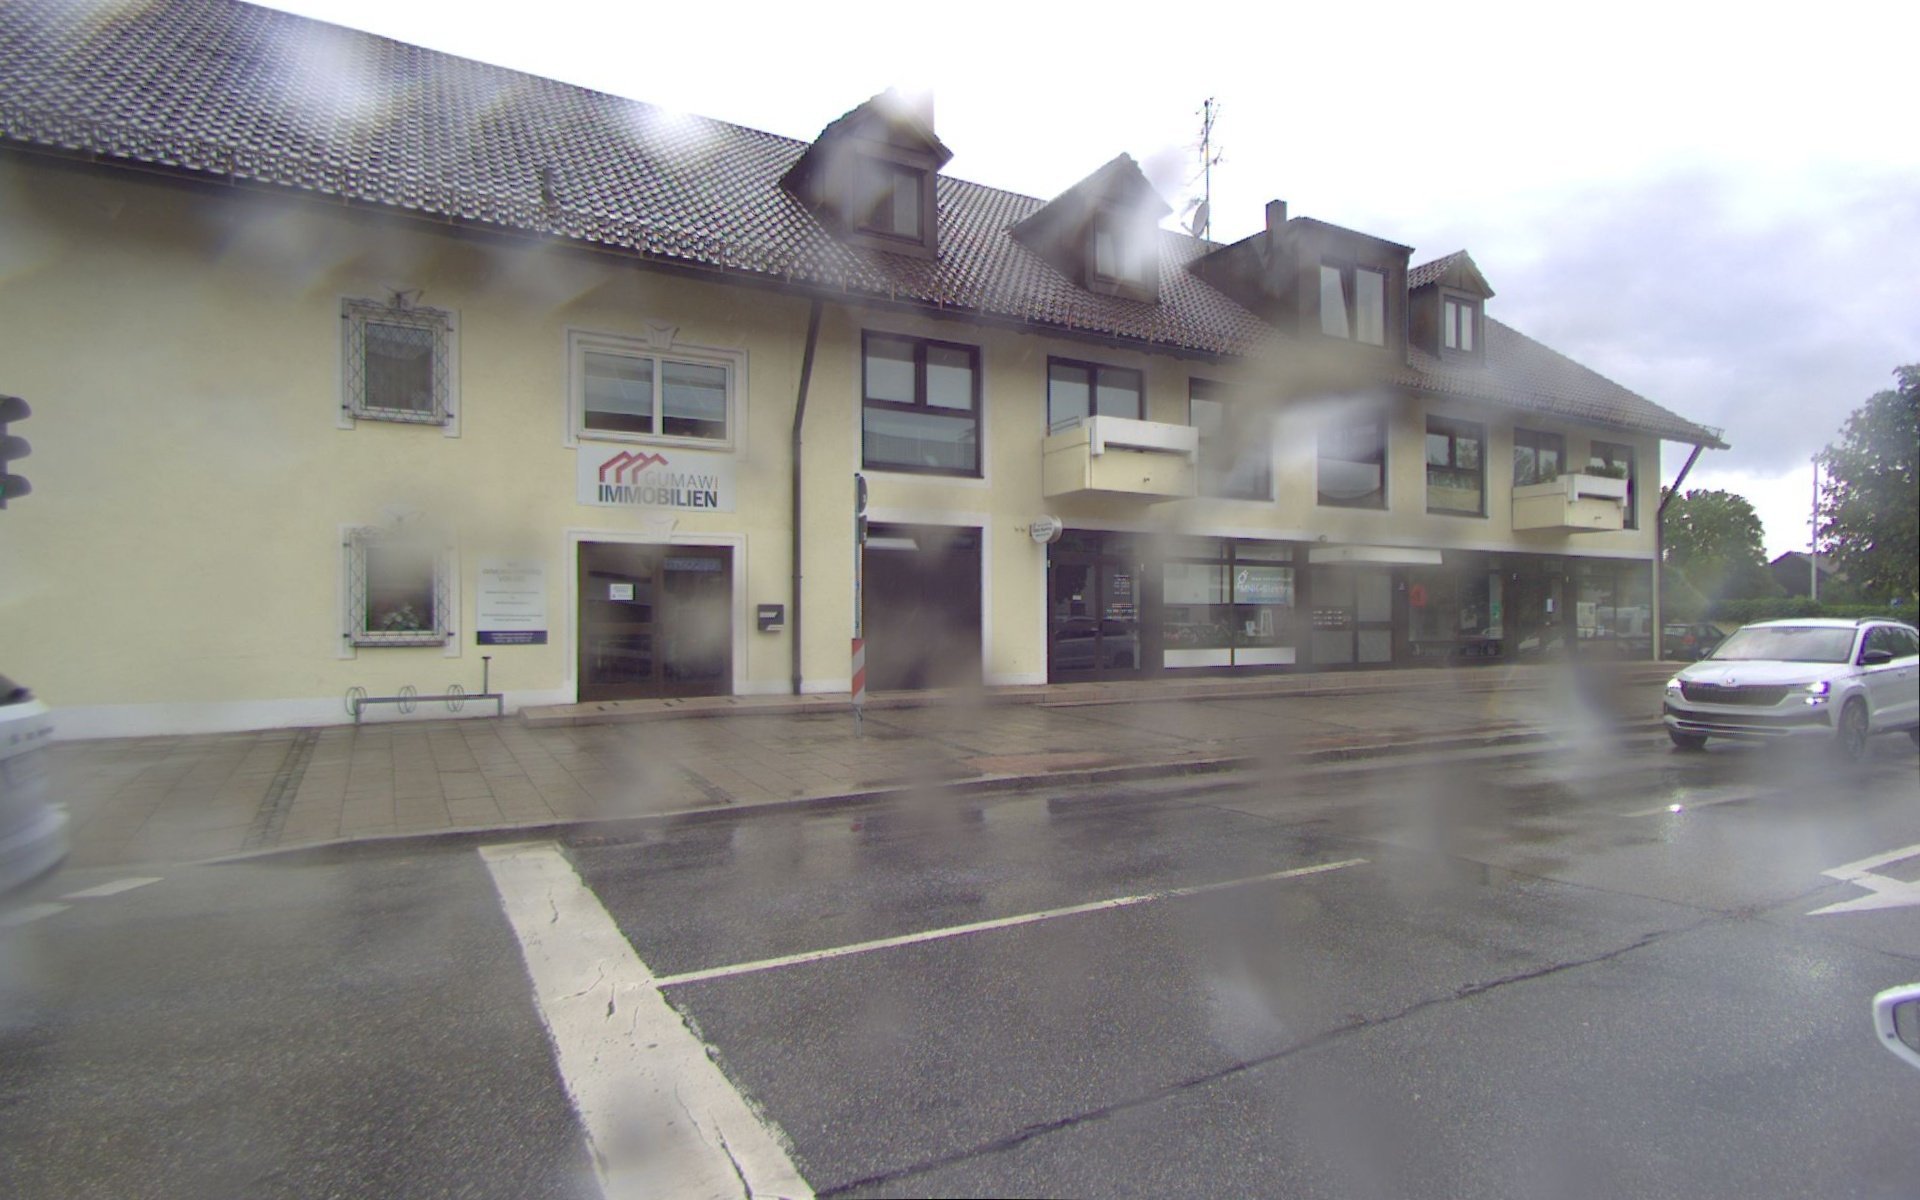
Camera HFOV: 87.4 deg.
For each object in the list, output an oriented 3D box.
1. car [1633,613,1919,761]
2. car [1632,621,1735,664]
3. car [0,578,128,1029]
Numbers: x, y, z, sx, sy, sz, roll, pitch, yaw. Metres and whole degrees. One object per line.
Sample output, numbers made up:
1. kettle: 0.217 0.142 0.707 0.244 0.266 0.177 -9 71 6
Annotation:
1. car: 10.557 0.986 12.660 4.079 1.587 1.917 1 -2 -31
2. car: 24.711 1.434 34.304 3.468 1.398 1.599 1 -2 -31
3. car: -5.594 0.703 3.309 4.105 1.583 1.957 1 -2 -32
